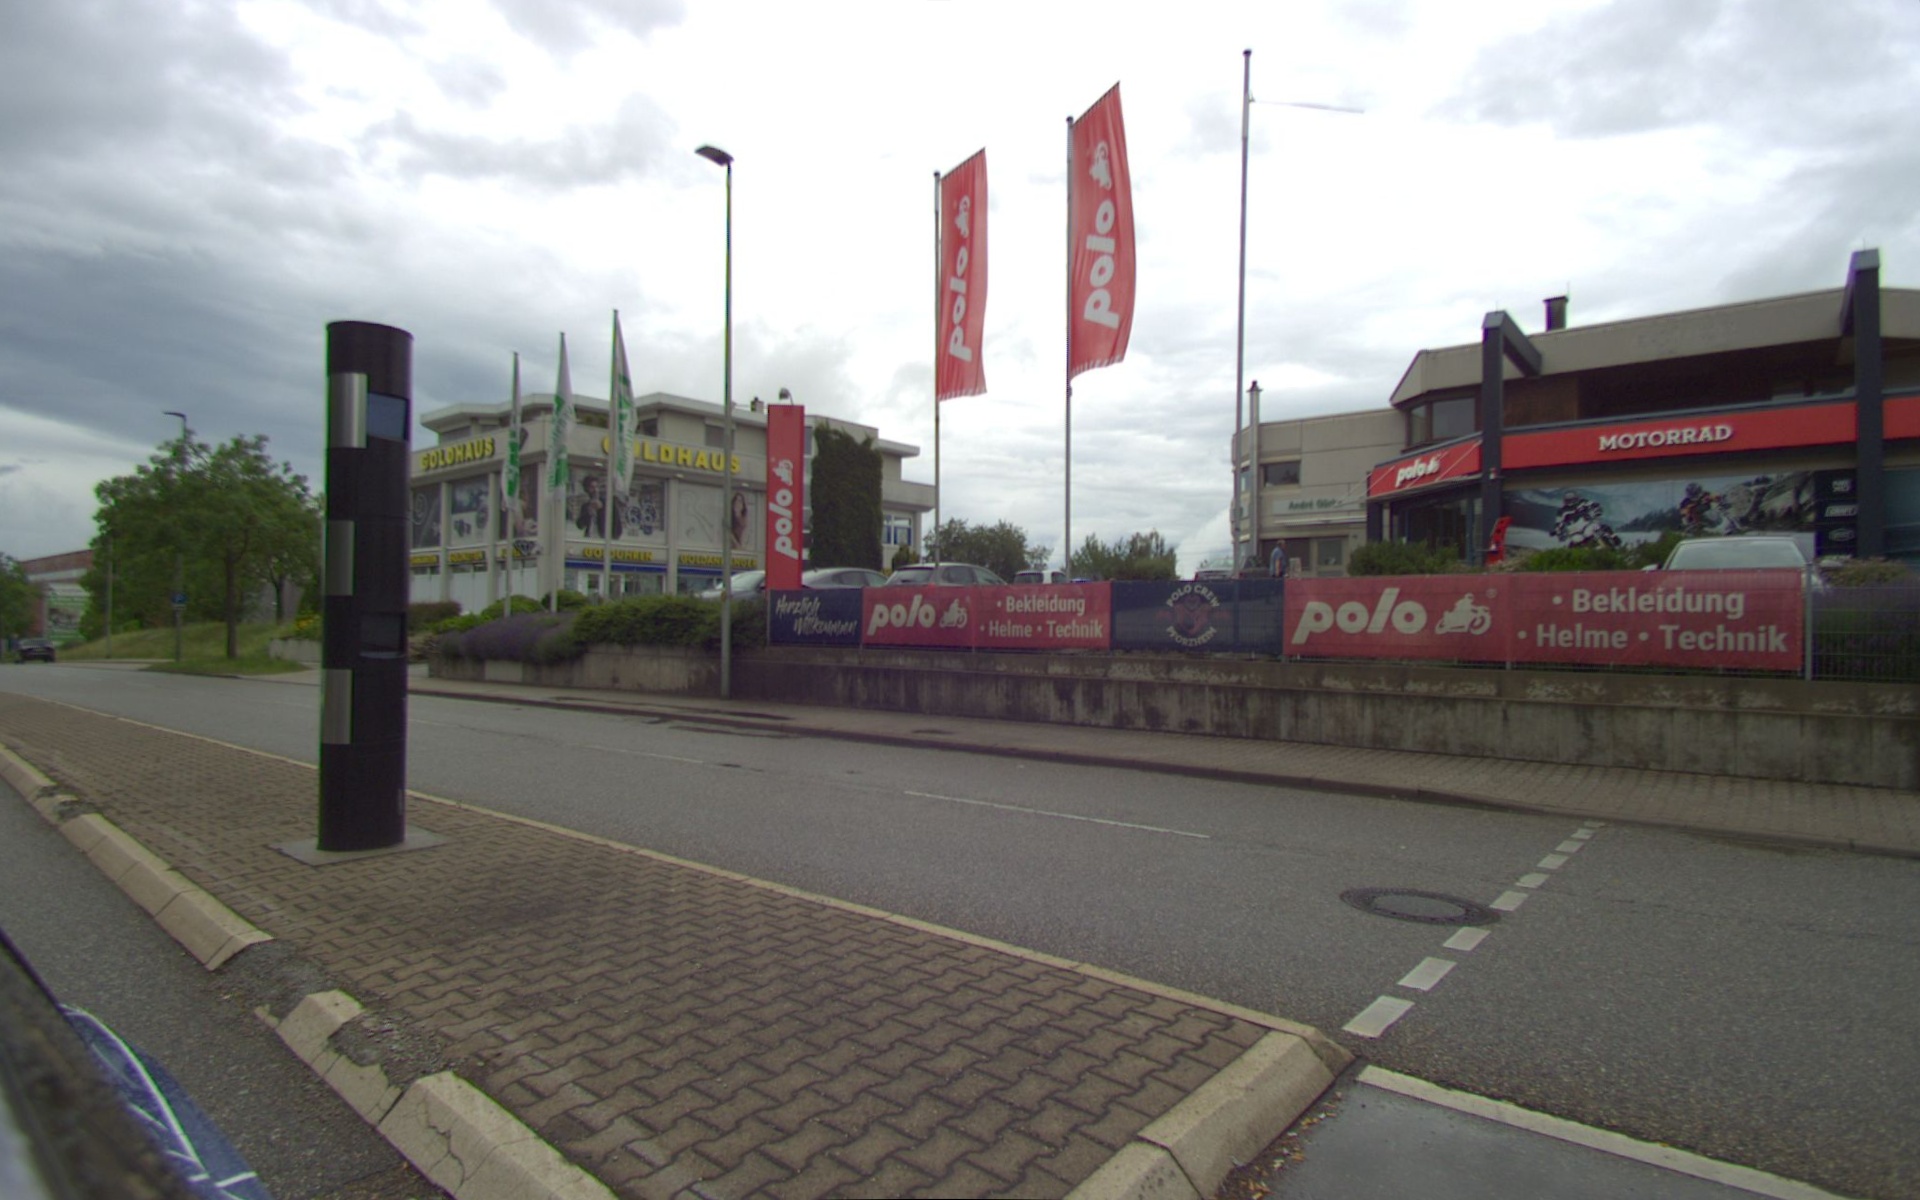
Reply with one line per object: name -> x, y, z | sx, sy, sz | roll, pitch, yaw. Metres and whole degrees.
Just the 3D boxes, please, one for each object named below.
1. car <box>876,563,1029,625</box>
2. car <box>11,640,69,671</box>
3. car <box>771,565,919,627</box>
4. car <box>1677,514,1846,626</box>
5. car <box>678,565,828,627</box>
car -> -0.104, -0.071, 21.304 | 1.452, 1.176, 3.353 | -2, -3, 38
car -> -61.558, 3.705, 67.685 | 4.541, 1.905, 2.320 | -4, -4, 41
car -> -2.572, -0.040, 23.169 | 1.452, 1.287, 3.353 | -2, -3, 38
car -> 9.940, -0.276, 12.611 | 1.452, 1.176, 3.353 | -2, -3, 38
car -> -4.896, -0.050, 24.216 | 1.454, 1.347, 3.350 | -2, -3, 42
